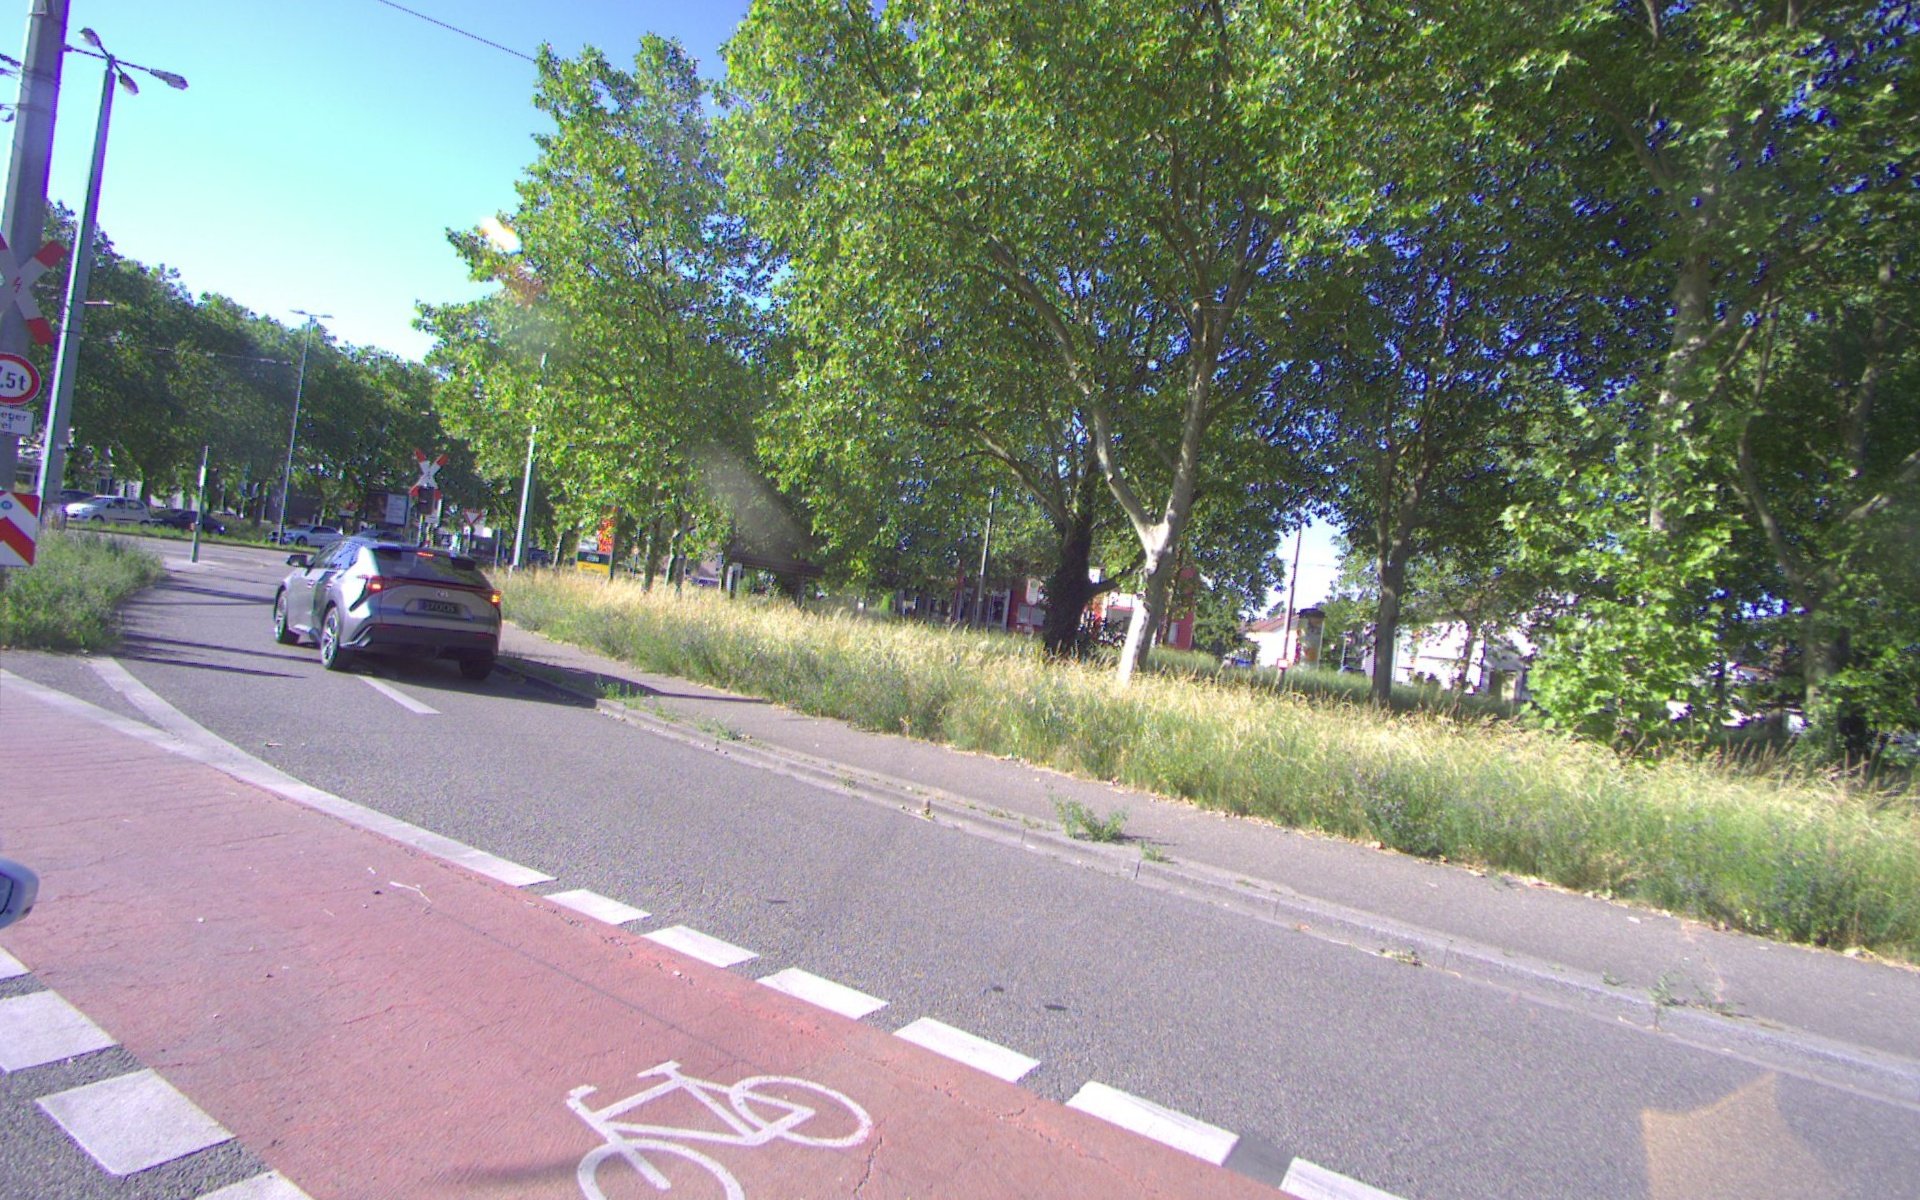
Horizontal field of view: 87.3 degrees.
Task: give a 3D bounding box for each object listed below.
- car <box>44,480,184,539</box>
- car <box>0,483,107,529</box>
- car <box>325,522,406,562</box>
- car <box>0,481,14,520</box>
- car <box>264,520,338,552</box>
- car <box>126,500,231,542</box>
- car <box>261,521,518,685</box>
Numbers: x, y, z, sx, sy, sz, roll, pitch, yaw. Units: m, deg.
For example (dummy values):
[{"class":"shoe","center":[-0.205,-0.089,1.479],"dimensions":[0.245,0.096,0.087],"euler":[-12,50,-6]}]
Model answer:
[{"class":"car","center":[-40.473,-4.286,48.297],"dimensions":[1.962,2.038,4.907],"euler":[7,-1,9]},{"class":"car","center":[-44.063,-4.525,48.931],"dimensions":[1.462,1.589,3.758],"euler":[7,-1,9]},{"class":"car","center":[-35.753,-3.451,60.640],"dimensions":[1.821,1.796,4.217],"euler":[7,-1,7]},{"class":"car","center":[-41.048,-4.322,40.574],"dimensions":[1.575,1.549,4.002],"euler":[7,0,9]},{"class":"car","center":[-41.867,-4.034,64.044],"dimensions":[1.563,1.519,4.003],"euler":[7,-1,7]},{"class":"car","center":[-42.936,-4.307,55.421],"dimensions":[1.661,1.593,4.528],"euler":[7,-1,9]},{"class":"car","center":[-7.721,-0.038,13.394],"dimensions":[1.761,1.651,4.440],"euler":[7,0,-45]}]
